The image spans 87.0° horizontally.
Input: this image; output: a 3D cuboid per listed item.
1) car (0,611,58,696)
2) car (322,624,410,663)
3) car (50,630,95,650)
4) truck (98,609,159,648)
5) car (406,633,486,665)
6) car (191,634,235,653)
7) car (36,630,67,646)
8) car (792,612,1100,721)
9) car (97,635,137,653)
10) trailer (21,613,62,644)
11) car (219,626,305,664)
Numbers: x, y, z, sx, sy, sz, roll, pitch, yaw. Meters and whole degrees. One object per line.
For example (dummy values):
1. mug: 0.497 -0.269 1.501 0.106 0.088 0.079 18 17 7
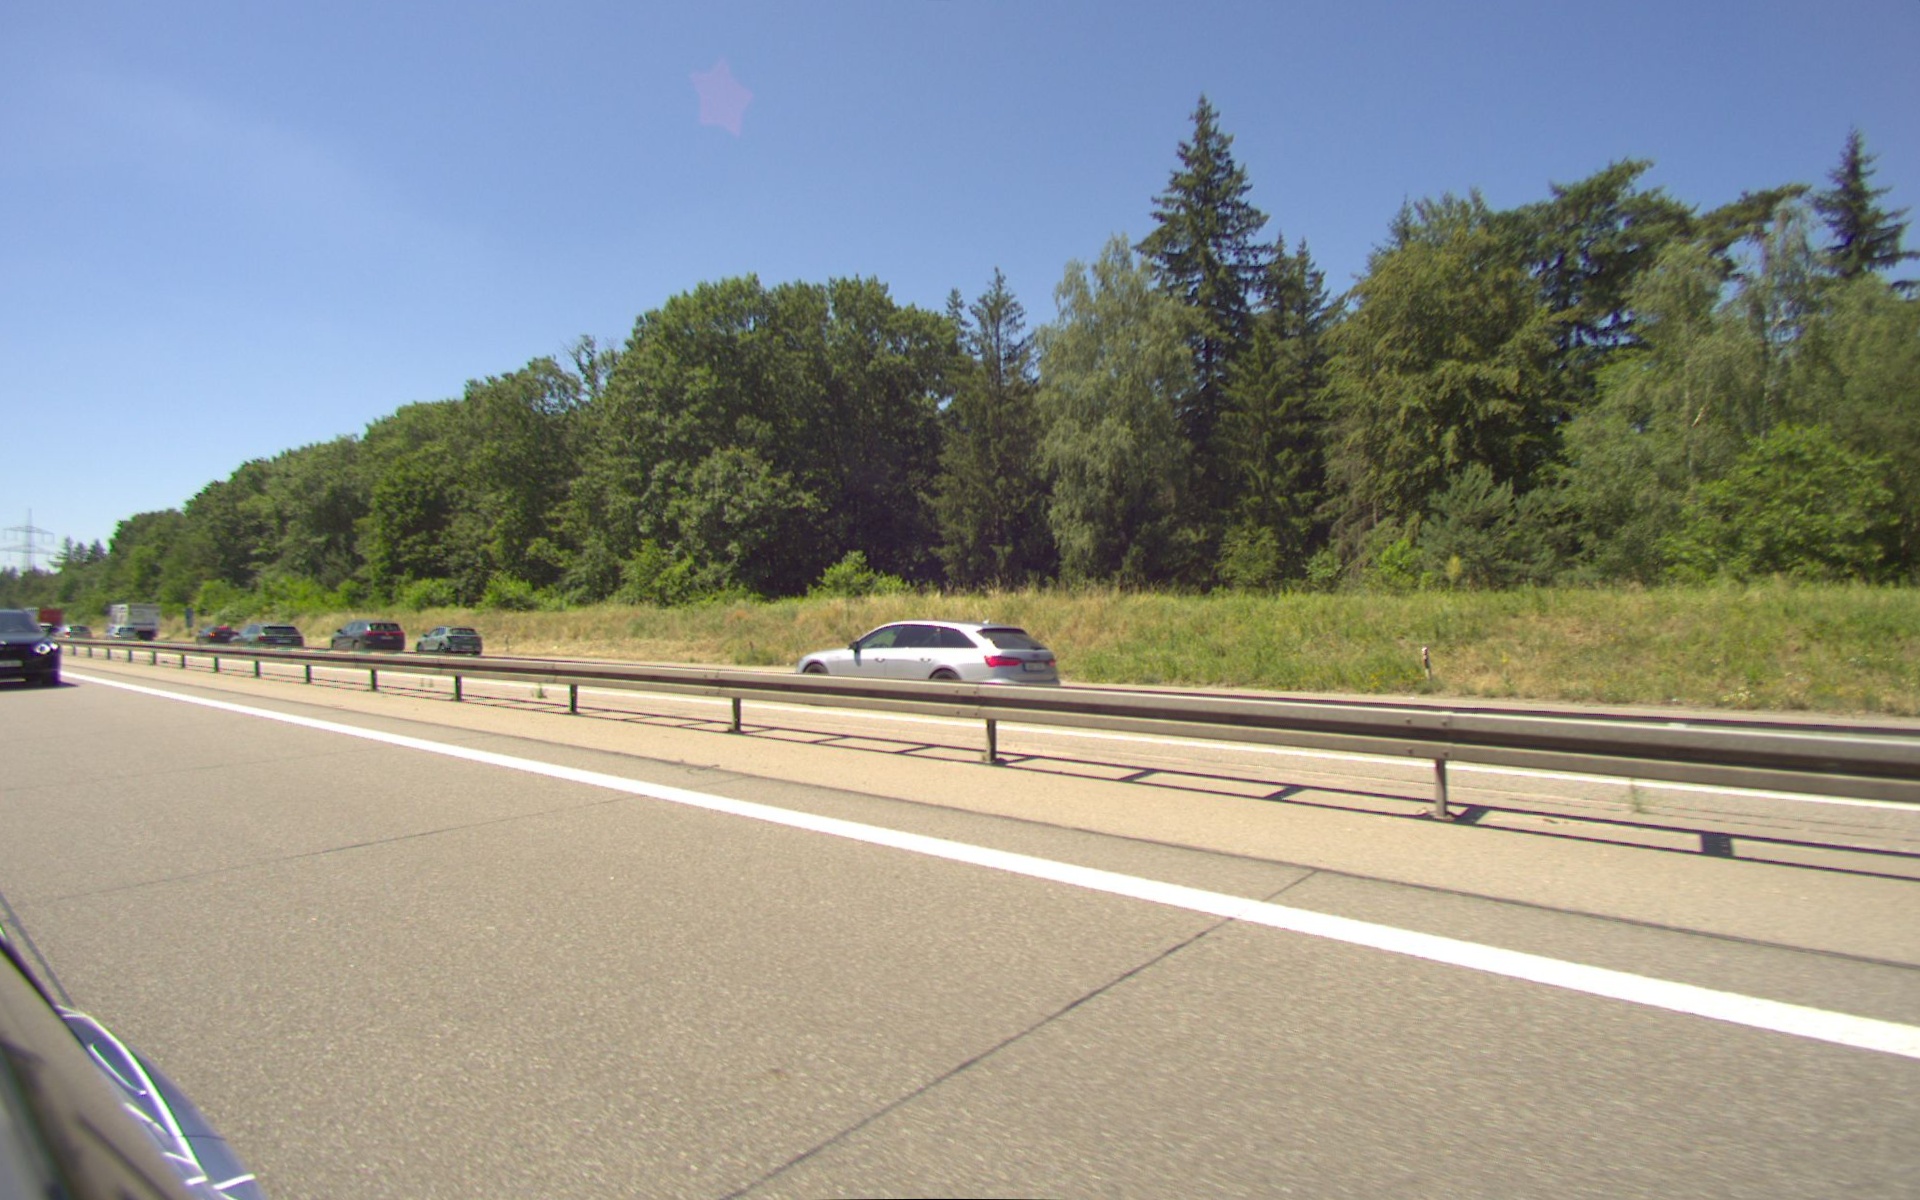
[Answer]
1. car: -22.367 1.213 23.092 5.809 1.765 1.920 -2 -1 41
2. car: -26.430 1.921 44.959 4.983 1.631 1.776 -2 -4 41
3. car: -66.182 2.978 75.448 5.117 1.470 1.743 -2 -4 41
4. truck: -80.833 2.805 98.301 10.435 3.545 2.703 -2 -4 41
5. car: -24.195 2.305 47.585 4.595 1.420 1.653 -2 -4 41
6. car: -56.883 3.305 77.026 5.174 1.422 1.637 -2 -4 41
7. car: -98.964 4.114 110.231 5.085 1.659 1.709 -2 -5 41
8. car: -0.362 1.003 16.111 4.983 1.485 1.775 -2 -4 41
9. car: -69.016 3.611 82.860 4.349 1.418 1.743 -2 -4 41
10. trailer: -126.931 3.989 139.756 14.361 4.045 2.479 -2 -4 42
11. car: -28.218 1.820 40.880 4.571 1.440 1.681 -2 -4 41
